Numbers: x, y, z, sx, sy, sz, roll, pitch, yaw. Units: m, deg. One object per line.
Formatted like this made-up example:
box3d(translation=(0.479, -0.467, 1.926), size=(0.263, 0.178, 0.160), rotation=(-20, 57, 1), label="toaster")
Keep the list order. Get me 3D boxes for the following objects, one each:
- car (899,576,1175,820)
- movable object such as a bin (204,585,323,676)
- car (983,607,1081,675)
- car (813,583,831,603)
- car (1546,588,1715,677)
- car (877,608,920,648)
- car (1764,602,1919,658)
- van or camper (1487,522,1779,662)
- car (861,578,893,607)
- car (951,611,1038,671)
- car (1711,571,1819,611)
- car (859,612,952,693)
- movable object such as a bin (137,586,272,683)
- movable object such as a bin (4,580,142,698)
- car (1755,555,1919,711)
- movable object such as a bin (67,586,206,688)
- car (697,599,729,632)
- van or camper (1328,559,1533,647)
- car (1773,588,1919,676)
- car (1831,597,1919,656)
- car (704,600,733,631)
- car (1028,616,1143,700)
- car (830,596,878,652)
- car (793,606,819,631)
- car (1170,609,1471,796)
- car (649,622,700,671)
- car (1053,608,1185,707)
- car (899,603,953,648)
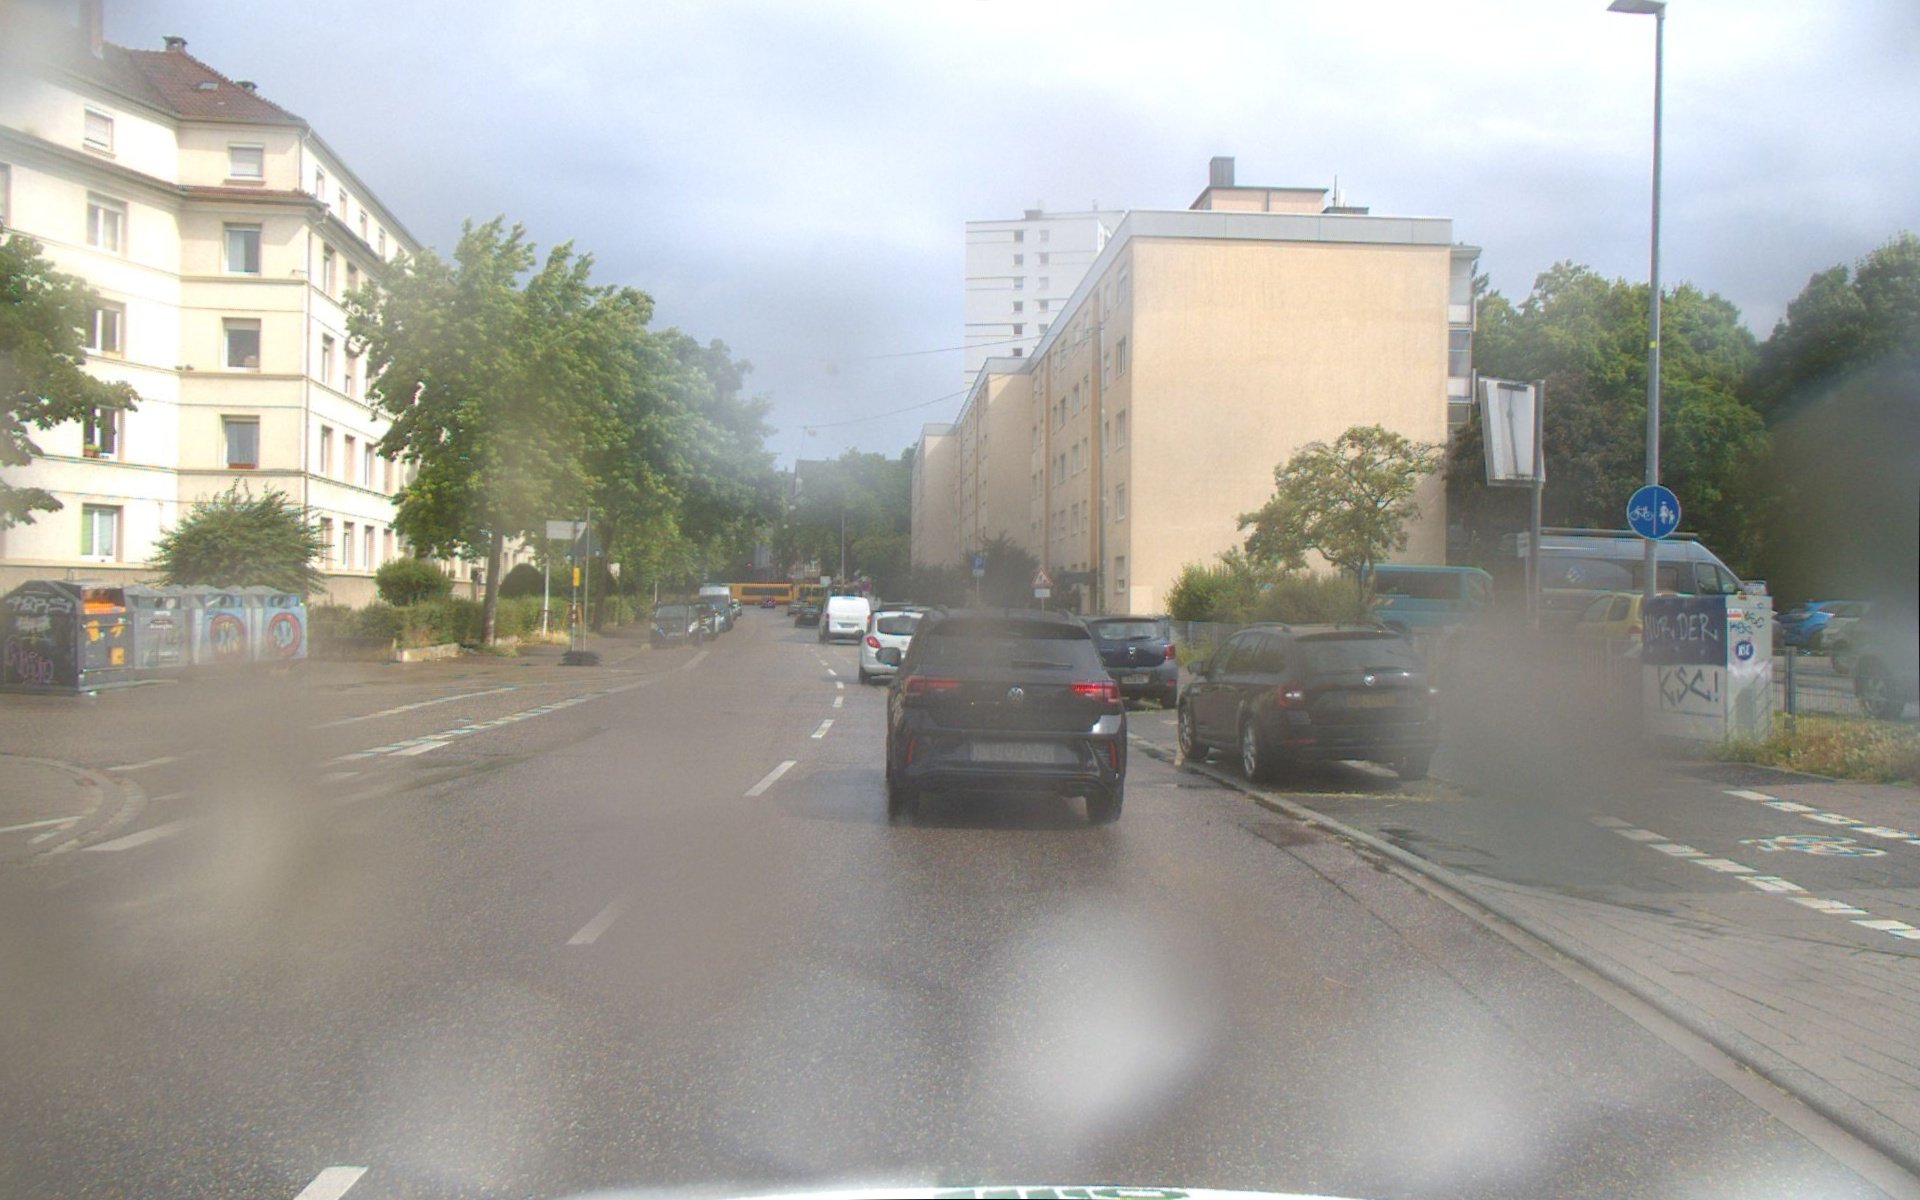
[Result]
box3d(translation=(0.481, 0.734, 13.825), size=(1.836, 1.674, 4.058), rotation=(2, -1, -3), label="car")
box3d(translation=(-13.248, 0.563, 31.508), size=(1.505, 1.691, 1.460), rotation=(0, 0, 16), label="movable object such as a bin")
box3d(translation=(1.685, 0.970, 39.926), size=(1.715, 1.534, 4.105), rotation=(1, -1, -7), label="car")
box3d(translation=(-13.223, -0.694, 158.063), size=(1.633, 1.870, 3.995), rotation=(0, 0, -5), label="car")
box3d(translation=(11.764, 0.547, 29.237), size=(1.578, 1.474, 3.416), rotation=(0, 0, 0), label="car")
box3d(translation=(-2.761, 1.218, 74.087), size=(1.574, 1.702, 4.026), rotation=(-1, 0, -7), label="car")
box3d(translation=(24.489, 0.825, 45.850), size=(3.591, 1.512, 1.639), rotation=(0, 0, 0), label="car")
box3d(translation=(13.177, -0.126, 32.589), size=(4.898, 2.599, 2.174), rotation=(1, -1, -2), label="van or camper")
box3d(translation=(-4.770, -0.417, 95.622), size=(1.804, 1.636, 3.673), rotation=(-1, 0, -2), label="car")
box3d(translation=(0.889, 1.086, 45.086), size=(1.684, 1.478, 4.252), rotation=(2, 0, -8), label="car")
box3d(translation=(28.988, -0.304, 59.577), size=(3.159, 1.422, 1.509), rotation=(0, 0, 0), label="car")
box3d(translation=(-1.186, 1.081, 34.735), size=(1.777, 1.529, 3.997), rotation=(3, -1, -3), label="car")
box3d(translation=(-13.660, 0.598, 29.963), size=(1.505, 1.703, 1.667), rotation=(0, 0, 16), label="movable object such as a bin")
box3d(translation=(-14.361, 0.600, 26.813), size=(1.505, 1.856, 1.264), rotation=(0, 0, 16), label="movable object such as a bin")
box3d(translation=(11.825, 0.379, 20.514), size=(1.767, 1.780, 4.236), rotation=(0, 0, -2), label="car")
box3d(translation=(-14.100, 0.611, 28.372), size=(1.505, 1.685, 1.529), rotation=(0, 0, 16), label="movable object such as a bin")
box3d(translation=(-12.814, 0.788, 85.942), size=(1.556, 1.668, 3.913), rotation=(-1, 0, -8), label="car")
box3d(translation=(12.130, 0.064, 42.915), size=(4.661, 2.169, 2.321), rotation=(1, 0, 0), label="van or camper")
box3d(translation=(16.652, 0.560, 30.345), size=(1.615, 1.512, 3.718), rotation=(0, 0, 0), label="car")
box3d(translation=(25.246, 0.685, 43.741), size=(3.591, 1.512, 1.639), rotation=(0, 0, 0), label="car")
box3d(translation=(-13.418, 0.850, 91.925), size=(1.556, 1.668, 3.913), rotation=(-1, 0, -8), label="car")
box3d(translation=(2.447, 1.118, 33.179), size=(1.573, 1.534, 4.155), rotation=(-2, -1, -6), label="car")
box3d(translation=(-4.296, 0.970, 66.604), size=(1.800, 2.140, 3.996), rotation=(3, -1, -4), label="car")
box3d(translation=(-10.074, 1.196, 107.989), size=(1.574, 1.536, 3.542), rotation=(-1, 0, -7), label="car")
box3d(translation=(3.463, 0.907, 16.763), size=(1.739, 1.566, 4.374), rotation=(-2, 0, -5), label="car")
box3d(translation=(-9.622, 1.548, 55.933), size=(1.556, 1.532, 4.057), rotation=(-1, 0, -8), label="car")
box3d(translation=(2.649, 0.957, 28.363), size=(1.721, 1.554, 3.998), rotation=(1, -1, -2), label="car")
box3d(translation=(-1.271, 0.908, 60.594), size=(1.662, 1.566, 4.027), rotation=(-1, 0, -6), label="car")
